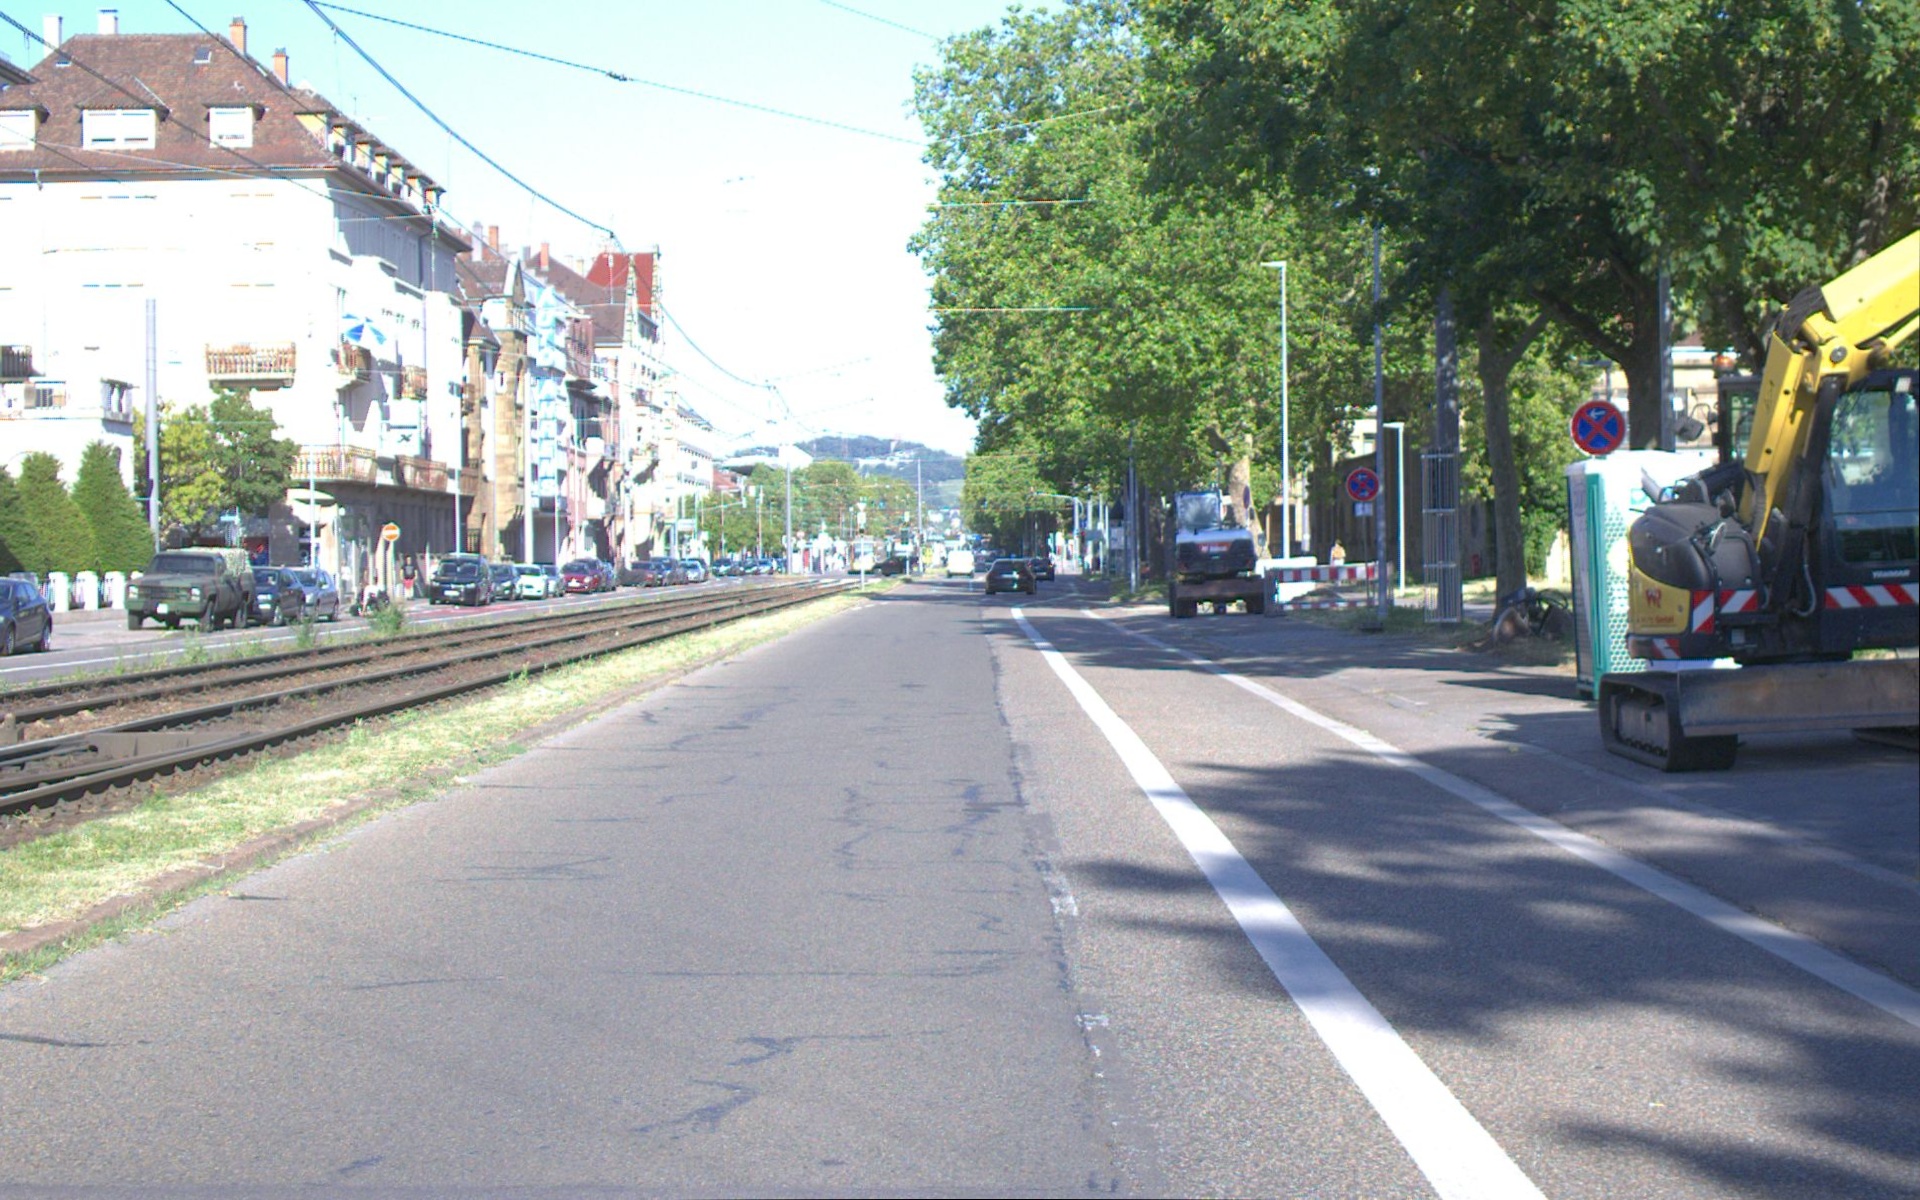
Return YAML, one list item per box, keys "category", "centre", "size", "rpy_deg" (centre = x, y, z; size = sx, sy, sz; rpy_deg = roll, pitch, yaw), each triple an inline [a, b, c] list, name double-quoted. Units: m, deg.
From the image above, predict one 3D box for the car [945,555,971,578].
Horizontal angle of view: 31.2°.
- category: "car"
  centre: [-0.149, -2.343, 241.885]
  size: [1.794, 1.505, 4.000]
  rpy_deg: [1, 0, 0]

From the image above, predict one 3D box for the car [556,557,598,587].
- category: "car"
  centre: [-18.477, -1.361, 165.917]
  size: [1.833, 1.386, 4.036]
  rpy_deg: [2, 1, -5]

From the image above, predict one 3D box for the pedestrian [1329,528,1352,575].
- category: "pedestrian"
  centre: [14.167, -1.807, 128.015]
  size: [0.608, 1.676, 0.636]
  rpy_deg: [-5, 1, -2]

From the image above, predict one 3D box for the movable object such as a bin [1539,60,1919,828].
- category: "movable object such as a bin"
  centre: [6.174, -0.959, 21.669]
  size: [3.338, 3.962, 7.599]
  rpy_deg: [-4, 1, -2]

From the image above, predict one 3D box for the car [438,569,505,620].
- category: "car"
  centre: [-18.124, -0.219, 127.668]
  size: [1.862, 1.780, 4.402]
  rpy_deg: [1, 1, -1]

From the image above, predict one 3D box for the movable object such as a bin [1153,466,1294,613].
- category: "movable object such as a bin"
  centre: [6.146, -1.437, 81.100]
  size: [2.744, 3.135, 7.219]
  rpy_deg: [-4, 1, 1]

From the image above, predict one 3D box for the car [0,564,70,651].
- category: "car"
  centre: [-18.446, 0.090, 65.134]
  size: [1.920, 1.456, 4.842]
  rpy_deg: [4, 1, -1]

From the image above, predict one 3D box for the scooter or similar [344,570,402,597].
- category: "scooter or similar"
  centre: [-17.663, -0.490, 103.398]
  size: [1.567, 0.768, 0.807]
  rpy_deg: [-1, 1, 32]

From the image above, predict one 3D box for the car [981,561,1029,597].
- category: "car"
  centre: [1.795, -0.848, 136.914]
  size: [1.833, 1.386, 4.159]
  rpy_deg: [0, 1, 0]

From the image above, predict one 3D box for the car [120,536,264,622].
- category: "car"
  centre: [-18.833, -0.554, 84.550]
  size: [2.077, 2.003, 5.591]
  rpy_deg: [1, 1, 2]

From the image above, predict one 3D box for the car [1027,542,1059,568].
- category: "car"
  centre: [4.923, -2.683, 205.361]
  size: [1.794, 1.505, 4.000]
  rpy_deg: [0, 1, 0]

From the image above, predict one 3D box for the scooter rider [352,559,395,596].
- category: "scooter rider"
  centre: [-17.631, -0.683, 103.375]
  size: [0.977, 1.085, 0.807]
  rpy_deg: [-1, 1, 32]

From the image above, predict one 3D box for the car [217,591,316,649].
- category: "car"
  centre: [-18.328, 0.510, 90.948]
  size: [1.635, 1.502, 4.159]
  rpy_deg: [0, 0, 2]
